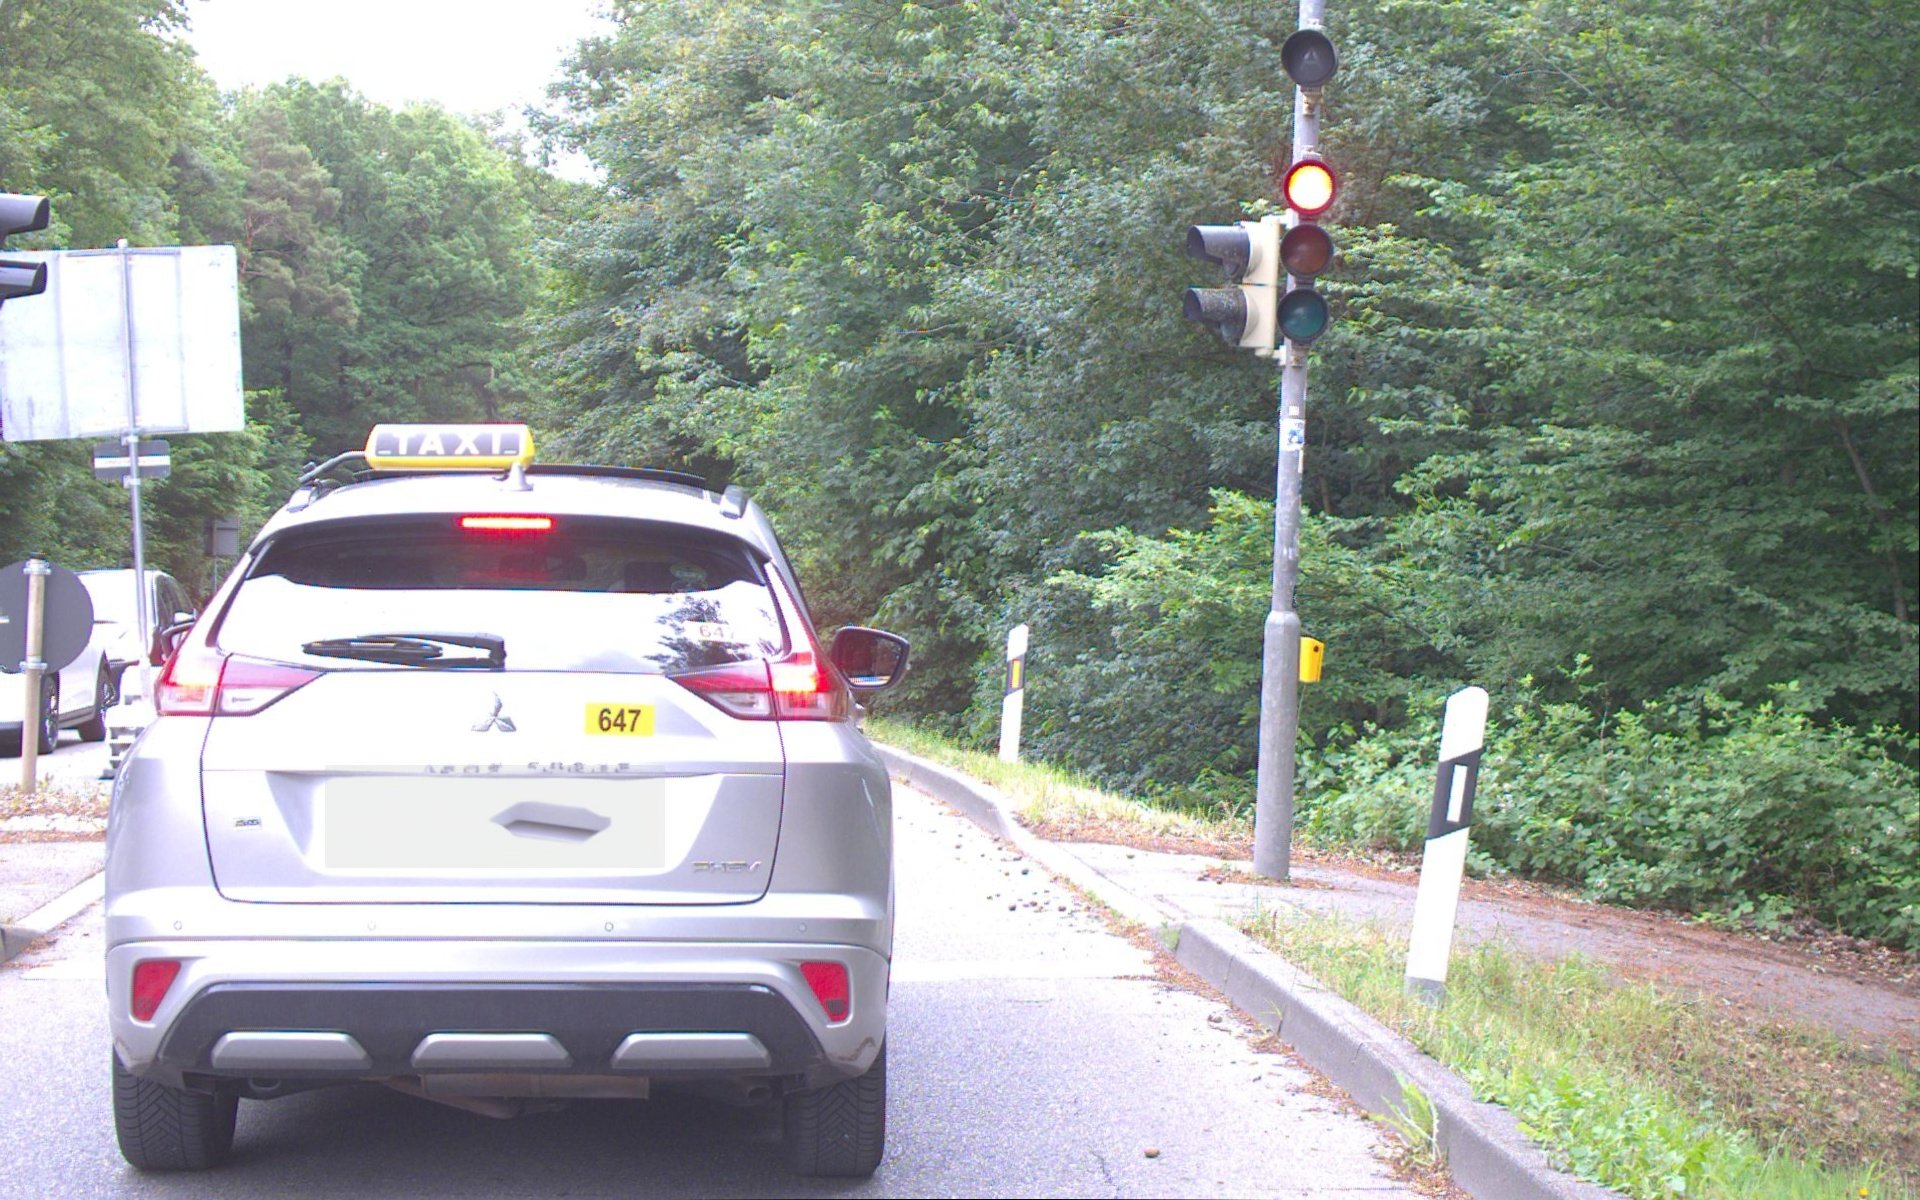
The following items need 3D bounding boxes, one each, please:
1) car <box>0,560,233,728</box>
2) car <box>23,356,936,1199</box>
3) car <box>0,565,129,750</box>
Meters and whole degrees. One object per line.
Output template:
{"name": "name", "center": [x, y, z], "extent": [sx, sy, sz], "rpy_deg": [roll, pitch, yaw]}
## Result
{"name": "car", "center": [-8.319, 0.393, 33.512], "extent": [1.811, 1.503, 3.722], "rpy_deg": [-2, 0, -3]}
{"name": "car", "center": [-1.188, 0.374, 9.148], "extent": [1.846, 1.774, 4.001], "rpy_deg": [1, 1, -6]}
{"name": "car", "center": [-7.837, 0.431, 27.489], "extent": [1.612, 1.317, 3.722], "rpy_deg": [-2, 2, -3]}
